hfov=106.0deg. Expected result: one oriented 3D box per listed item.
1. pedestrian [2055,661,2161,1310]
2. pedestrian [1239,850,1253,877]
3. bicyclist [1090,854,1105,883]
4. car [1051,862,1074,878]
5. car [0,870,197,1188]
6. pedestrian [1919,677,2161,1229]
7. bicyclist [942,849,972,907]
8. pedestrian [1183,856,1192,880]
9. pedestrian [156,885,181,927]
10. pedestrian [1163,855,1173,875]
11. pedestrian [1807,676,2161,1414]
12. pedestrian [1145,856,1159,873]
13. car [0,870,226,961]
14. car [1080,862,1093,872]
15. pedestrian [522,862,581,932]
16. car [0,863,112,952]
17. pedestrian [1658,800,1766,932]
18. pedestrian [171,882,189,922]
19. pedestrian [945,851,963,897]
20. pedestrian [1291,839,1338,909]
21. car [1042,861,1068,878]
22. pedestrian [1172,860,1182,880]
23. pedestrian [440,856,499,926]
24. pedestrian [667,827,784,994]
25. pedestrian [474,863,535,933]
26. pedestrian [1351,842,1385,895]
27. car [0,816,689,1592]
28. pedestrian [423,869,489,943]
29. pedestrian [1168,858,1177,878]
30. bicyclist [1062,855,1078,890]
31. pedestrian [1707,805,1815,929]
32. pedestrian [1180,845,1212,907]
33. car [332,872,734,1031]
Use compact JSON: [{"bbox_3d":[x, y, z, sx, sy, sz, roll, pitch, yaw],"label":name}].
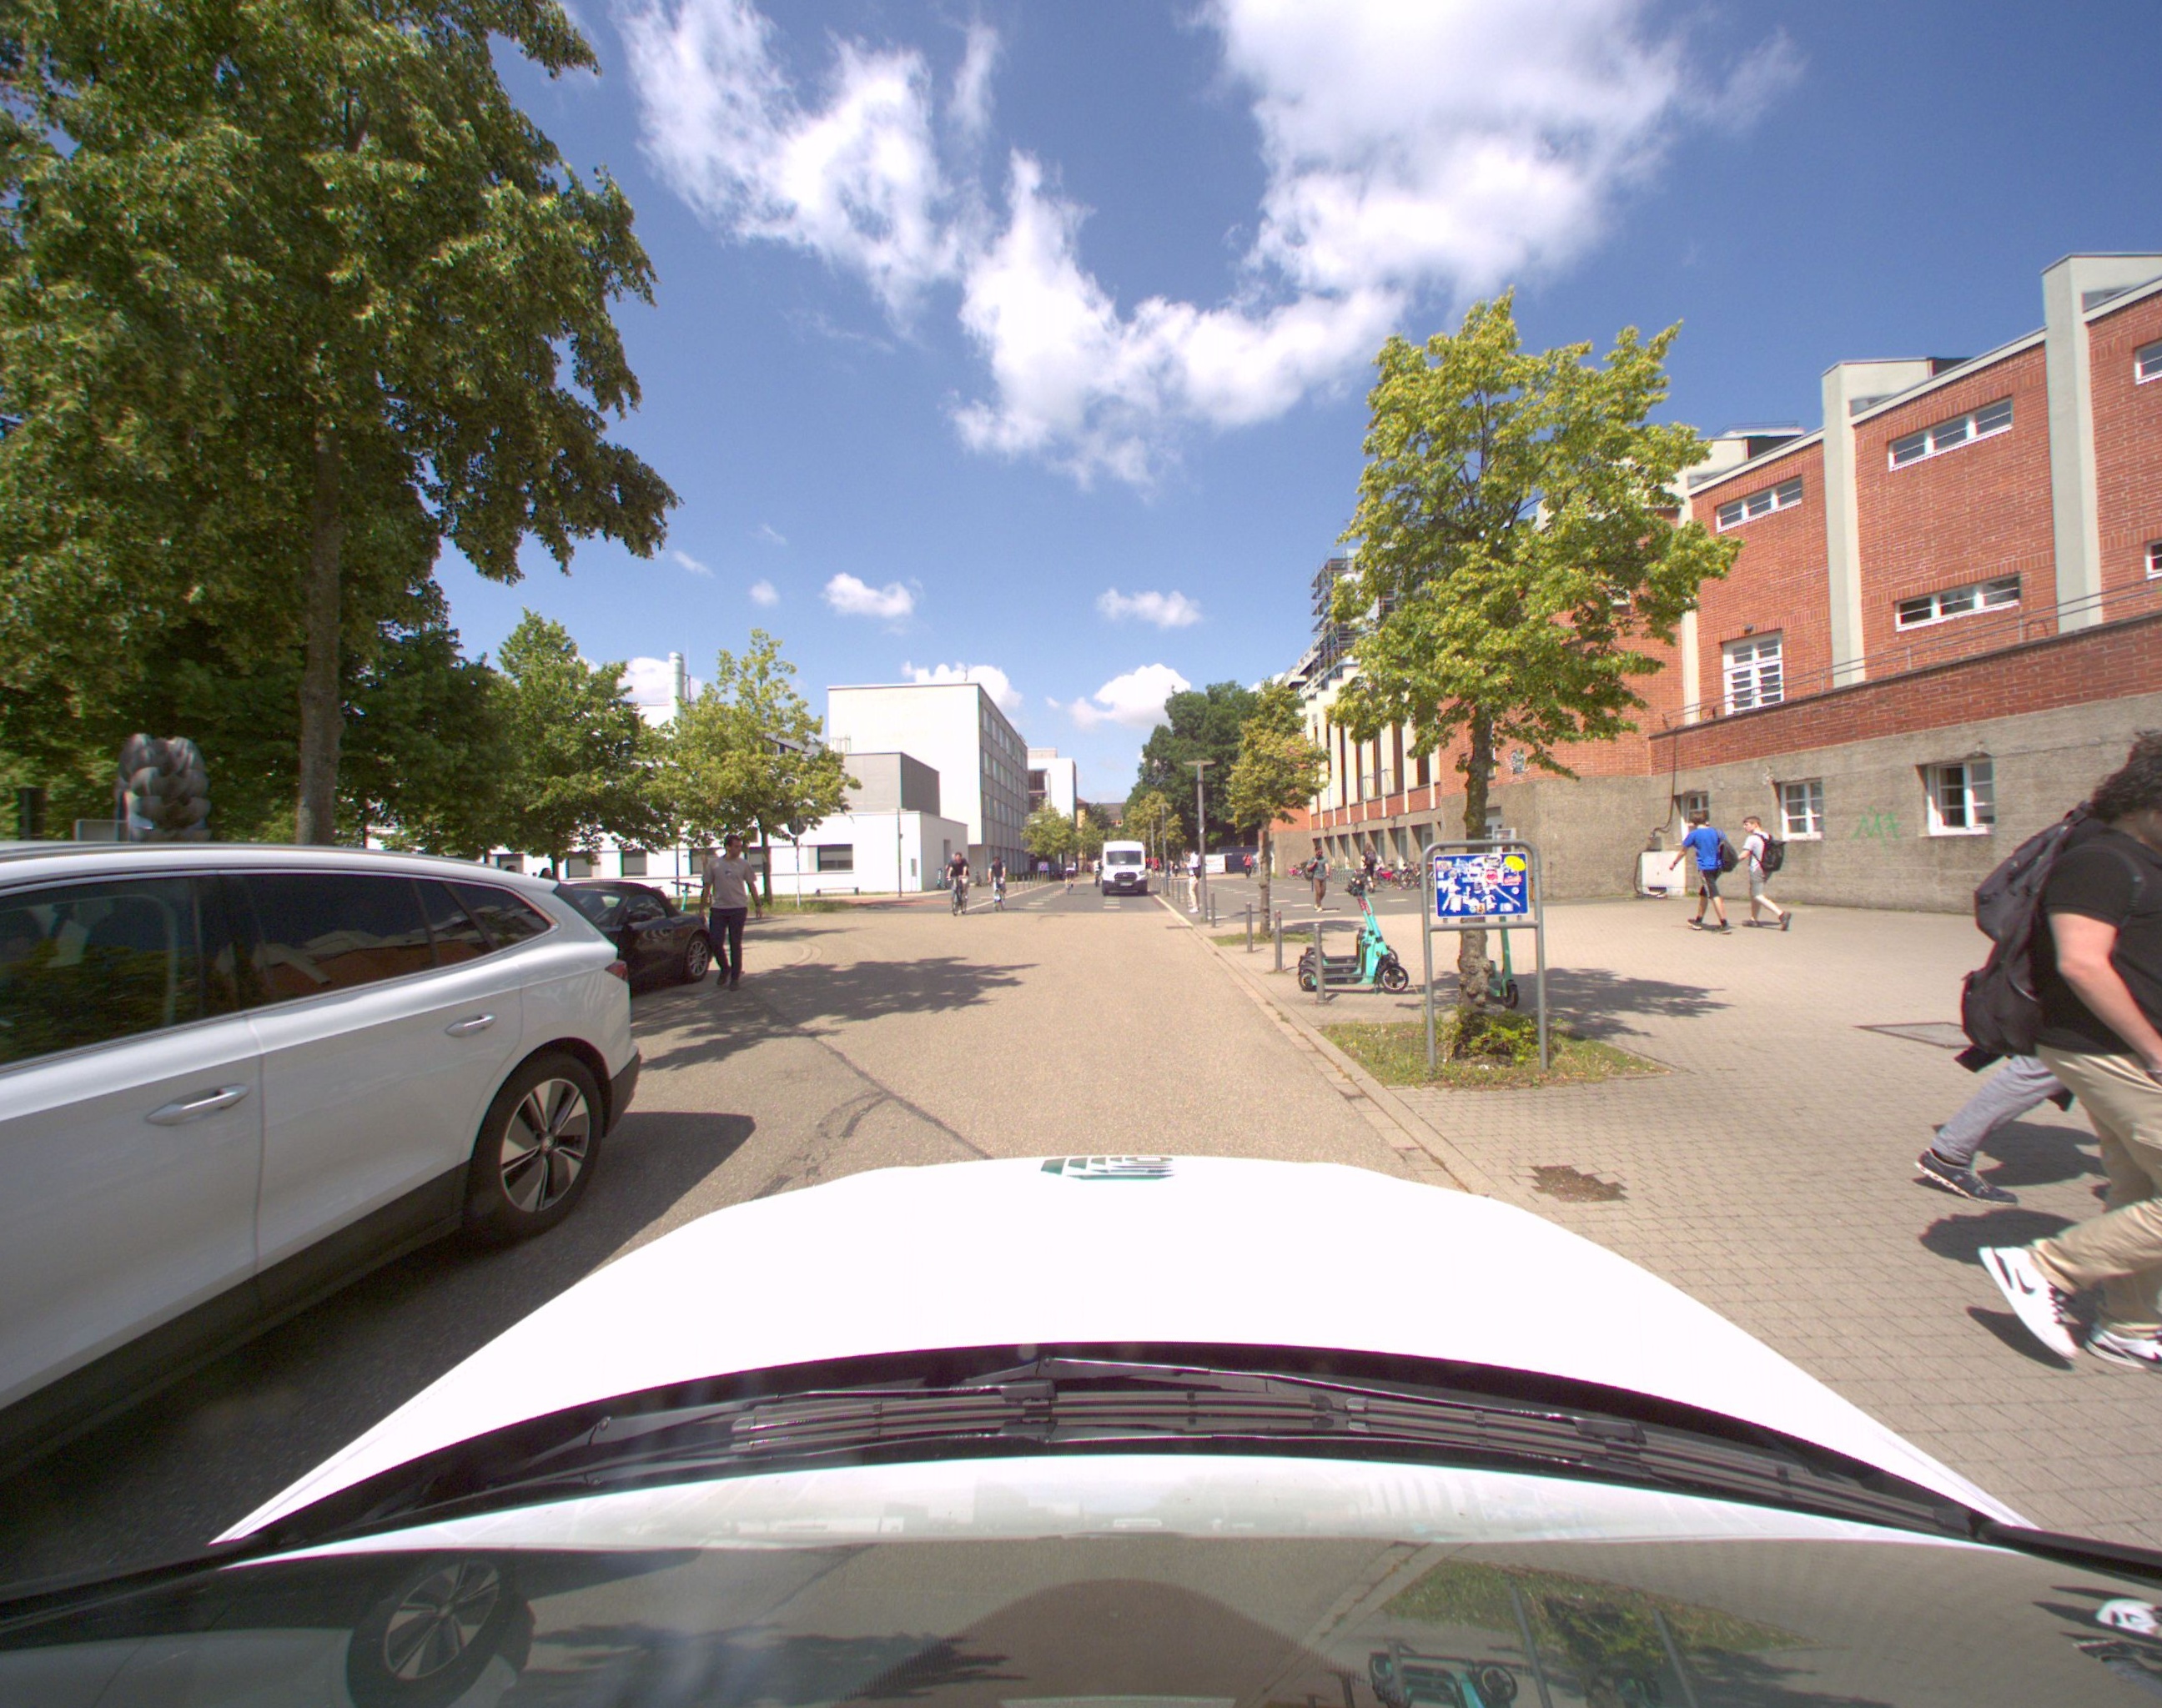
[{"bbox_3d":[3.687,0.386,2.416,0.620,1.980,0.821,-1,-2,-29],"label":"pedestrian"},{"bbox_3d":[11.768,0.687,58.243,0.847,1.860,1.118,-2,-1,7],"label":"pedestrian"},{"bbox_3d":[1.052,0.921,52.148,0.767,1.756,0.849,3,0,5],"label":"bicyclist"},{"bbox_3d":[-1.835,1.558,81.654,1.786,1.530,4.007,-2,-1,6],"label":"car"},{"bbox_3d":[-5.715,0.782,2.537,1.656,1.412,3.809,0,0,2],"label":"car"},{"bbox_3d":[4.073,0.351,3.210,0.818,1.980,0.696,-3,-1,28],"label":"pedestrian"},{"bbox_3d":[-3.522,0.675,23.176,0.641,1.601,0.909,-2,-1,2],"label":"bicyclist"},{"bbox_3d":[8.633,1.141,65.945,0.574,1.860,0.570,-2,-1,0],"label":"pedestrian"},{"bbox_3d":[-44.328,2.520,39.565,0.694,2.014,0.675,0,-2,-41],"label":"pedestrian"},{"bbox_3d":[7.933,0.997,74.486,0.786,1.860,1.244,-2,-1,4],"label":"pedestrian"},{"bbox_3d":[2.787,0.456,2.339,0.793,1.772,0.860,-3,-1,28],"label":"pedestrian"},{"bbox_3d":[9.007,1.301,103.133,1.494,1.996,1.646,-4,0,0],"label":"pedestrian"},{"bbox_3d":[-20.230,1.211,16.024,1.920,1.516,4.443,-4,0,2],"label":"car"},{"bbox_3d":[1.045,2.261,140.862,1.786,1.530,4.007,-2,-1,6],"label":"car"},{"bbox_3d":[-13.561,1.084,20.868,0.844,1.708,0.858,-2,1,17],"label":"pedestrian"},{"bbox_3d":[-22.856,1.179,16.081,1.920,1.769,4.443,-4,0,2],"label":"car"},{"bbox_3d":[9.643,0.180,12.477,0.701,1.891,0.990,-4,0,-10],"label":"pedestrian"},{"bbox_3d":[-46.288,2.466,41.845,0.542,2.014,0.489,0,-2,-41],"label":"pedestrian"},{"bbox_3d":[-5.072,0.790,32.380,0.667,1.785,0.981,-1,-2,-11],"label":"pedestrian"},{"bbox_3d":[6.039,0.505,21.144,0.850,1.733,1.160,-2,-1,1],"label":"pedestrian"},{"bbox_3d":[-2.321,1.389,74.250,1.786,1.530,4.007,-2,-1,6],"label":"car"},{"bbox_3d":[8.782,1.458,74.231,0.786,1.860,1.027,-2,-1,4],"label":"pedestrian"},{"bbox_3d":[-15.865,0.946,21.153,0.843,1.750,0.859,-2,1,24],"label":"pedestrian"},{"bbox_3d":[-4.289,0.649,9.937,1.014,1.903,1.175,0,-2,-8],"label":"pedestrian"},{"bbox_3d":[-14.504,1.096,20.512,0.844,1.708,0.858,-2,1,18],"label":"pedestrian"},{"bbox_3d":[10.379,0.532,29.467,0.787,1.860,1.116,-2,-1,0],"label":"pedestrian"},{"bbox_3d":[-3.181,0.720,2.161,1.911,1.619,4.521,1,-1,2],"label":"car"},{"bbox_3d":[-15.103,1.251,19.696,0.845,1.708,0.858,-2,1,14],"label":"pedestrian"},{"bbox_3d":[8.772,1.326,77.860,0.786,1.860,1.027,-2,-1,4],"label":"pedestrian"},{"bbox_3d":[-0.534,0.884,38.754,0.715,1.662,1.094,-1,-2,-2],"label":"bicyclist"},{"bbox_3d":[10.487,0.187,12.592,0.701,1.803,0.991,-3,0,-9],"label":"pedestrian"},{"bbox_3d":[3.291,0.608,23.344,0.699,1.694,0.962,-4,-1,3],"label":"pedestrian"},{"bbox_3d":[-5.674,0.902,9.129,1.638,1.301,3.931,-2,-1,4],"label":"car"}]
